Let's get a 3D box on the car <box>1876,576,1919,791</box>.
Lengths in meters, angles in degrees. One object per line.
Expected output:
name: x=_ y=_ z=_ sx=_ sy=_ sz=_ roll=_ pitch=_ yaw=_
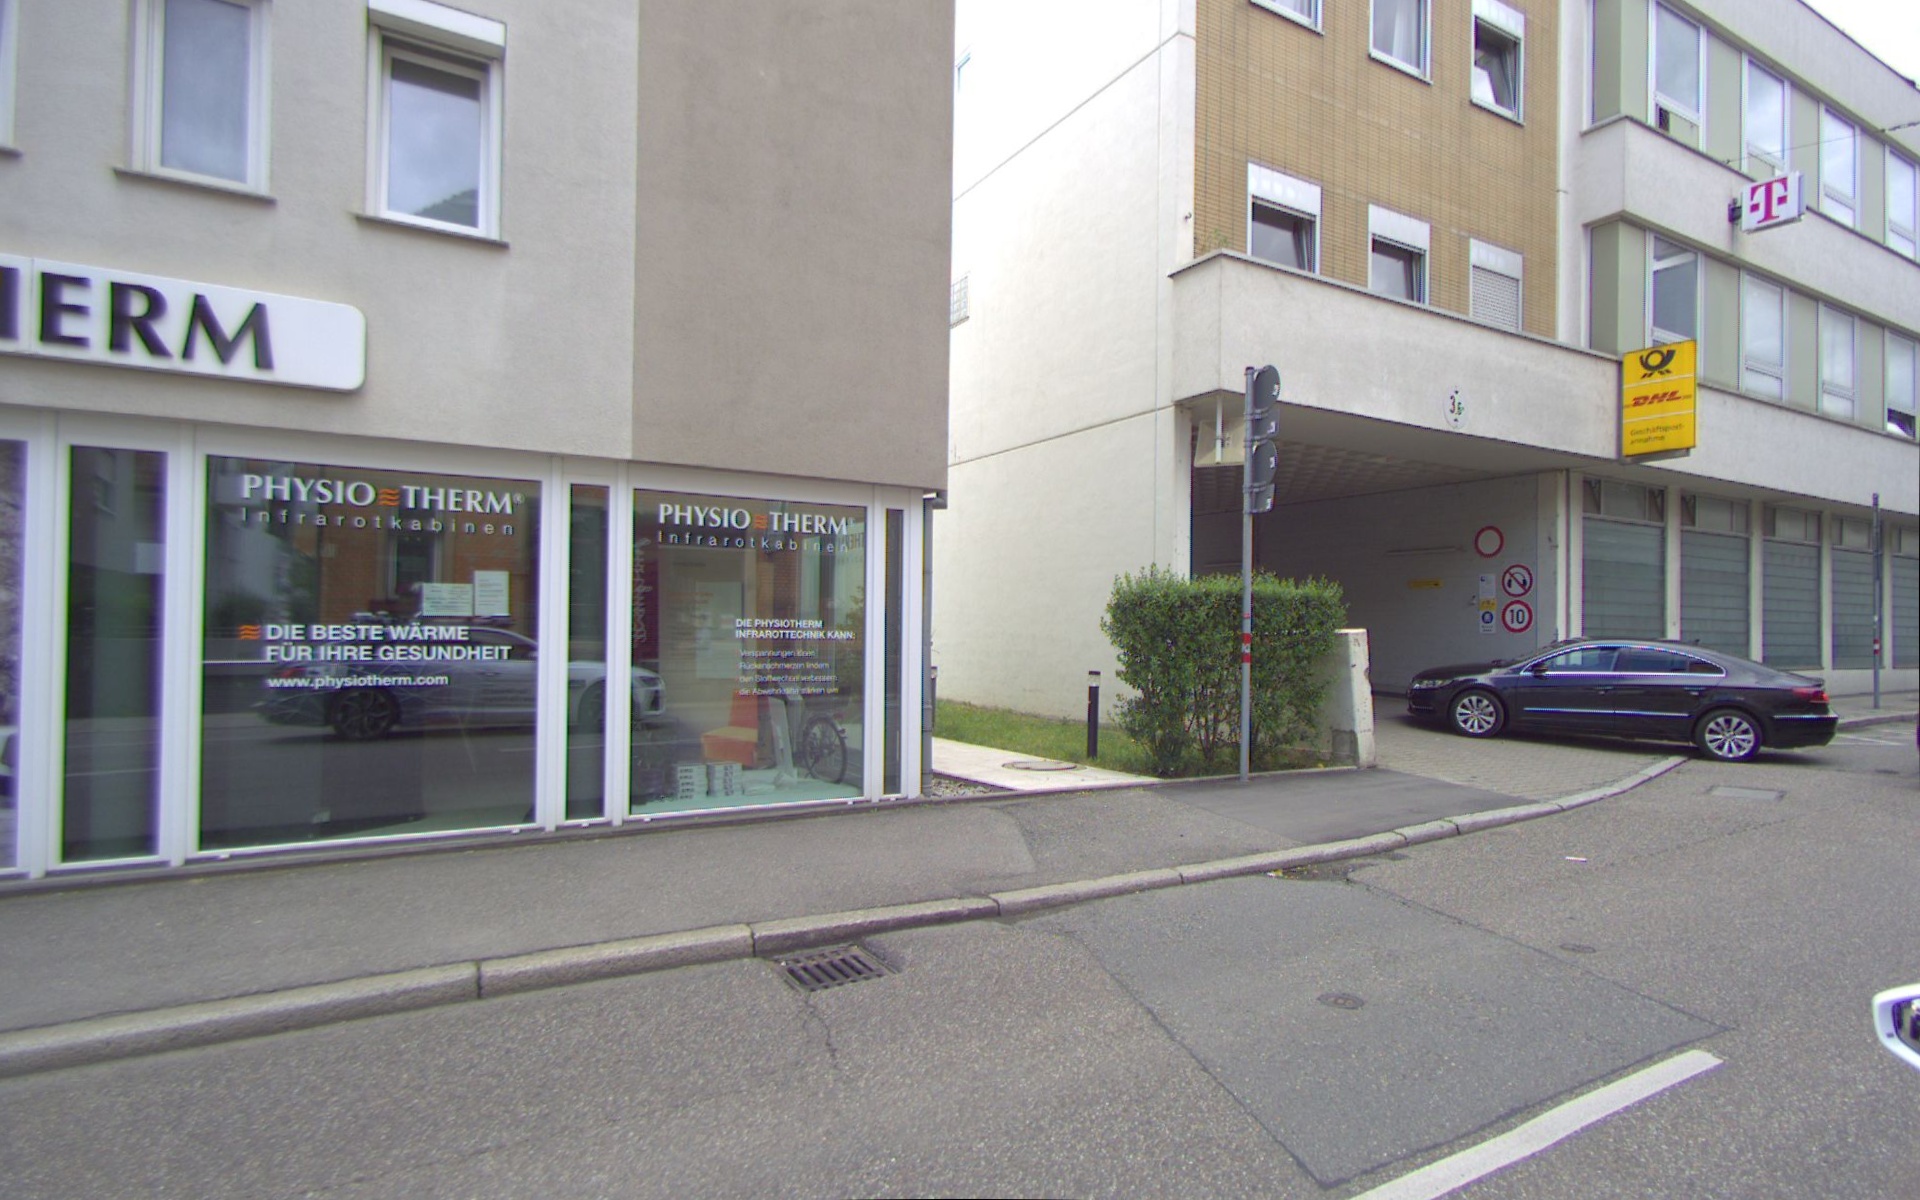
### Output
car: x=11.530 y=0.805 z=10.162 sx=4.845 sy=2.040 sz=1.984 roll=1 pitch=-3 yaw=-31

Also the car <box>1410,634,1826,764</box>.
car: x=8.430 y=1.186 z=13.293 sx=4.336 sy=1.384 sz=1.782 roll=0 pitch=-1 yaw=31
